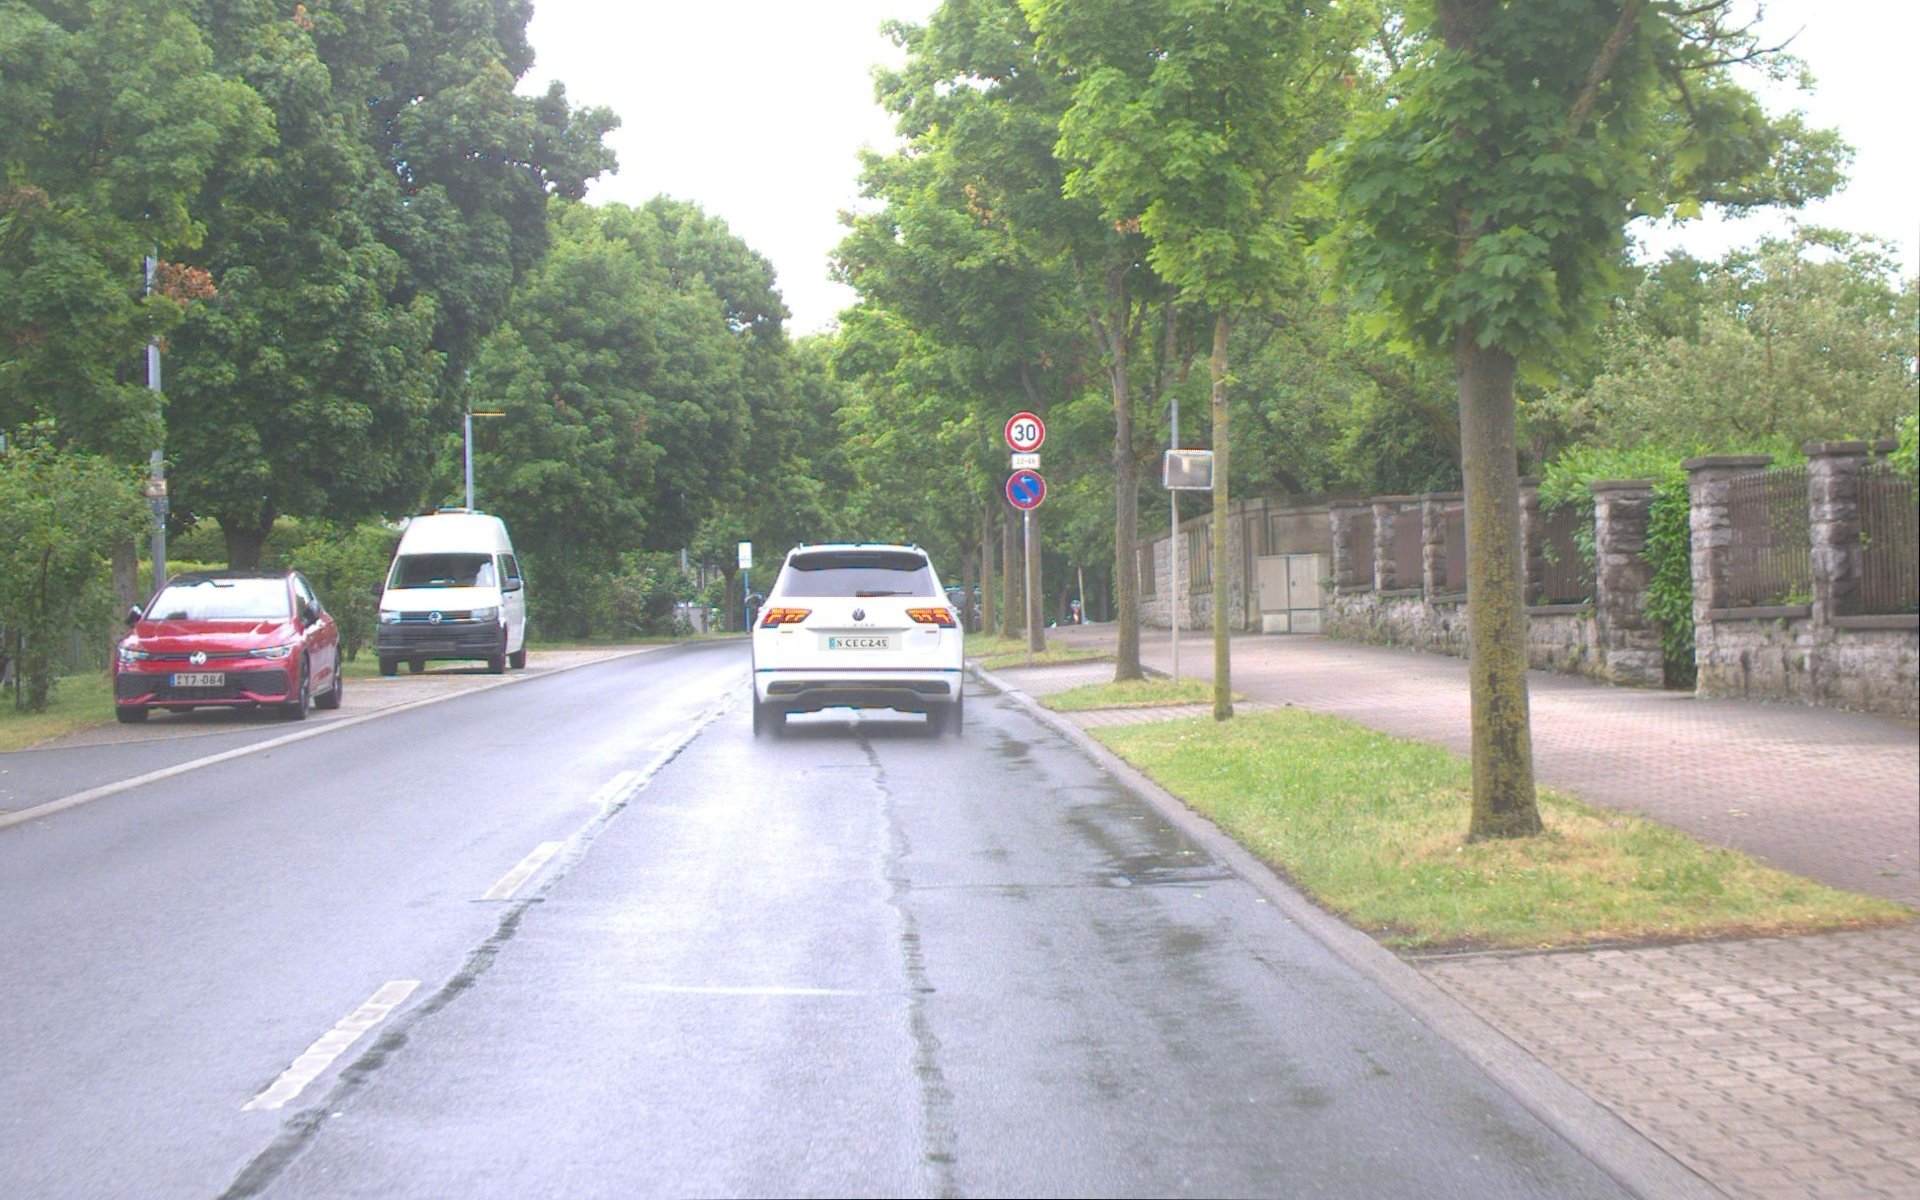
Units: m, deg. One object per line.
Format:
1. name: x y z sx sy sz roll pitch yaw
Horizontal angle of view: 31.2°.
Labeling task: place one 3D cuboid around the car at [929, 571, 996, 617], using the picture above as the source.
1. car: 0.116 -0.207 123.369 1.841 1.482 3.998 -3 -1 7

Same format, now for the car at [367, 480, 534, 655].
1. car: -7.866 -0.493 53.463 1.993 2.552 5.233 -1 0 -2

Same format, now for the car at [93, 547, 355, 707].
1. car: -7.144 0.228 33.750 1.843 1.461 4.250 0 1 -3

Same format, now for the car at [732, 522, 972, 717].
1. car: -0.943 0.119 30.731 1.996 1.626 4.000 0 1 -1
